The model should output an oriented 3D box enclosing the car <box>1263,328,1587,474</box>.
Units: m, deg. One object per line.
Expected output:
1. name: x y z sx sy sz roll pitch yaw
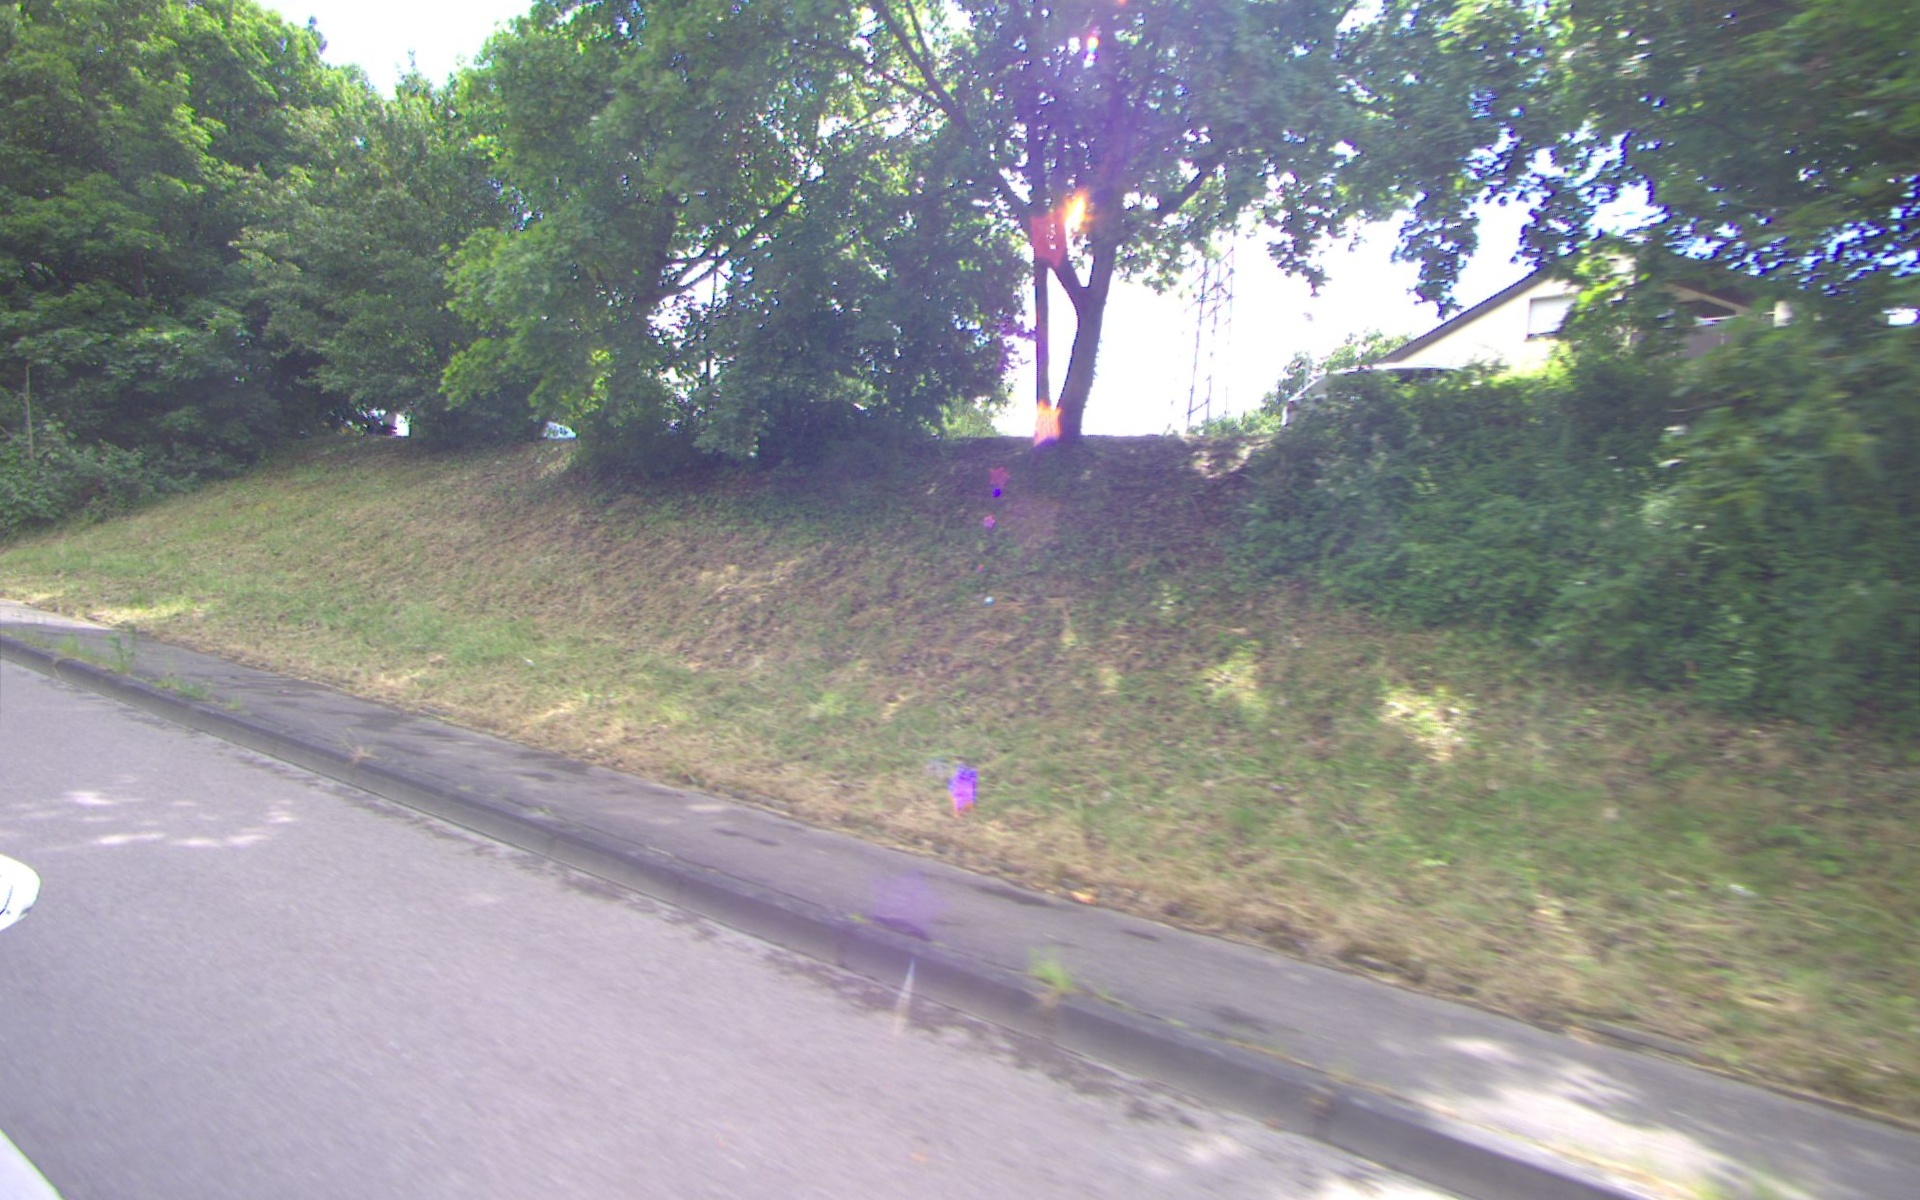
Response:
1. car: 6.689 -2.845 14.659 3.929 1.516 1.779 7 -2 30
